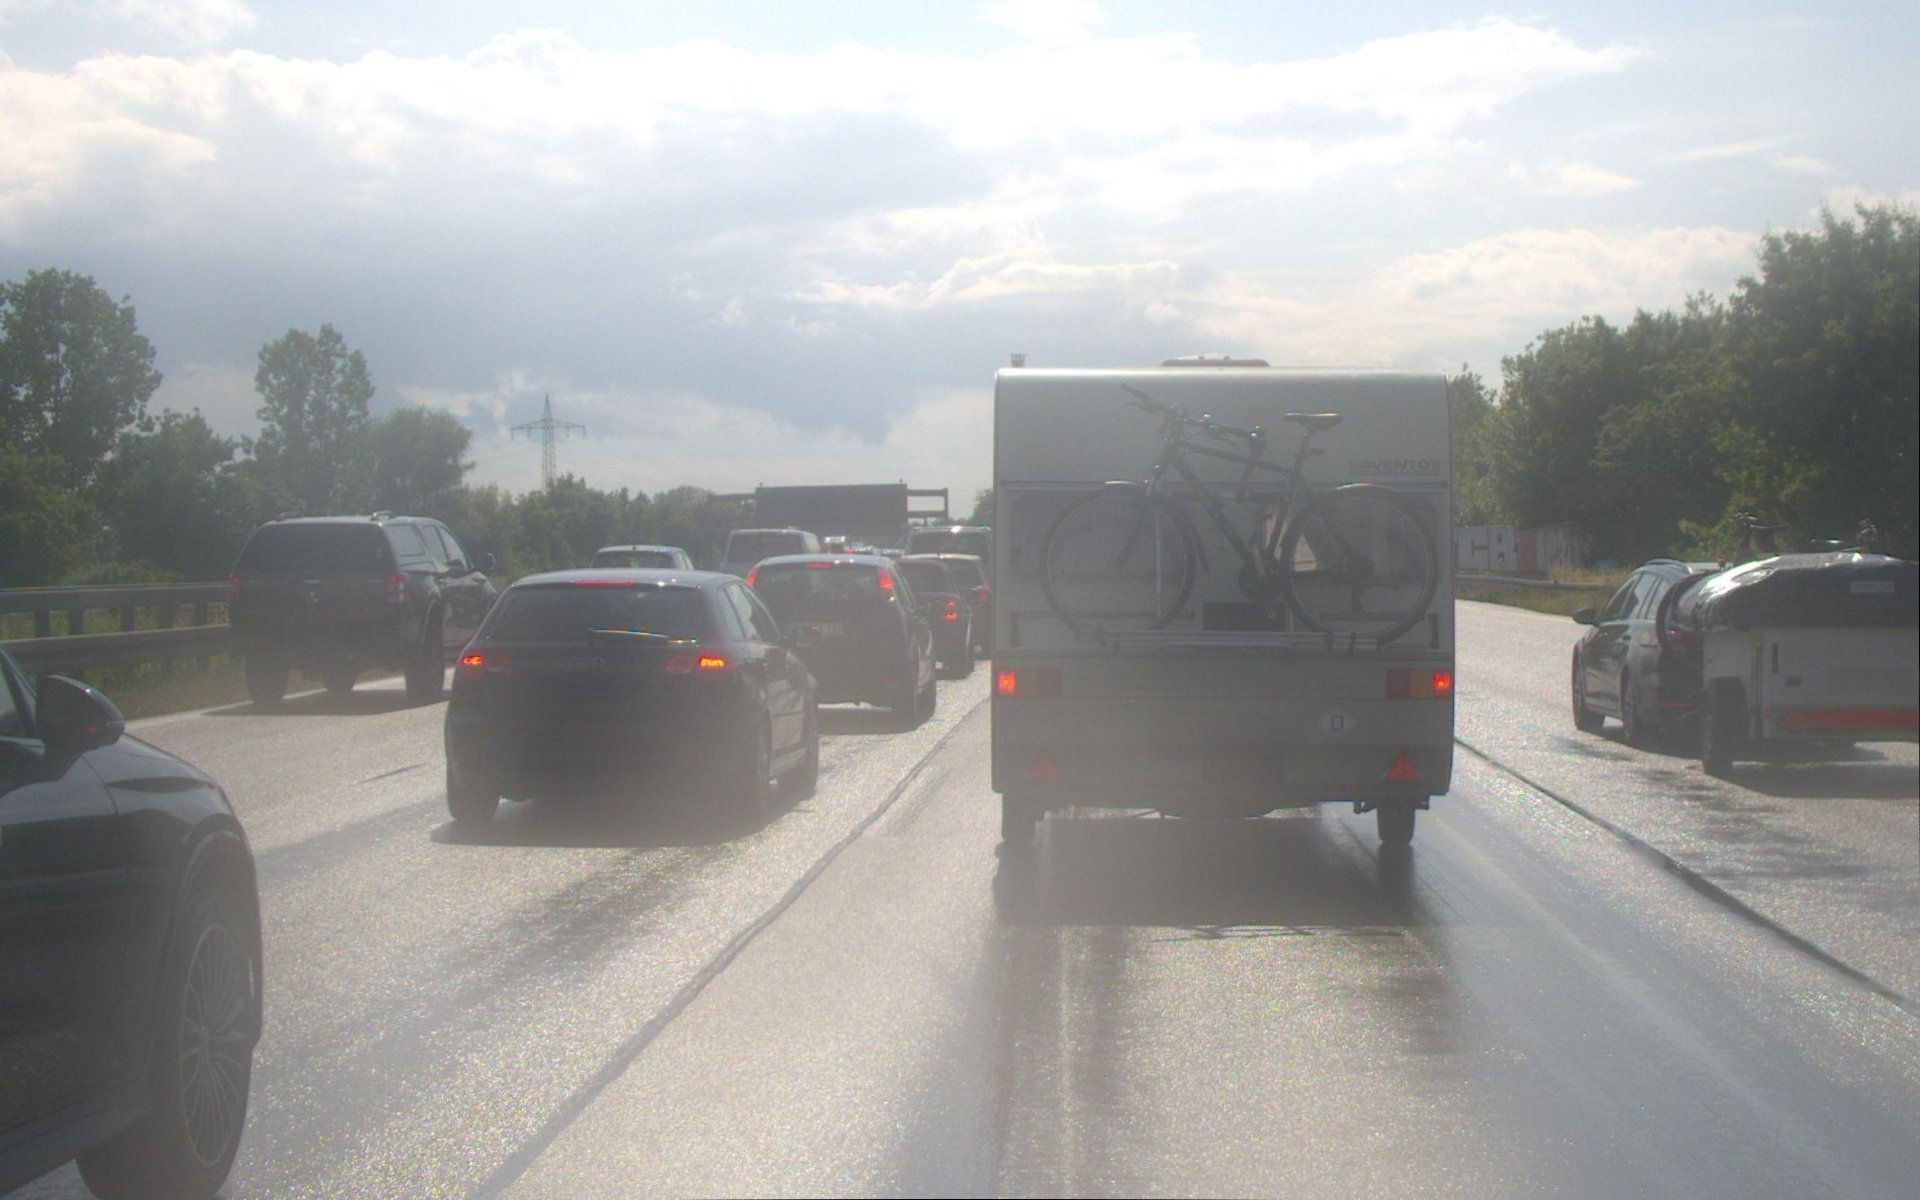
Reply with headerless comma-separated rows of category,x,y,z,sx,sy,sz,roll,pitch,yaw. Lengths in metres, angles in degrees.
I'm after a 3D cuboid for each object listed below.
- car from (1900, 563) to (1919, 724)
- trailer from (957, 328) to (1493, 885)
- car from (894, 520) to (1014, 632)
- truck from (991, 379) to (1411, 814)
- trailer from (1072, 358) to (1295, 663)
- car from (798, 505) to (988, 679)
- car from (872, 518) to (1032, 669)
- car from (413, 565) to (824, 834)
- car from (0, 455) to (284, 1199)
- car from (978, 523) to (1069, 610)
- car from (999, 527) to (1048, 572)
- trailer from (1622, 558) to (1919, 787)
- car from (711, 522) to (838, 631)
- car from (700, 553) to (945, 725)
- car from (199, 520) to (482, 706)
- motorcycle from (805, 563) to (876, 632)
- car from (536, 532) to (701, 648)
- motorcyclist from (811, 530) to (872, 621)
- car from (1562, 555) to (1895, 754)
car,9.136,0.404,28.450,1.771,1.397,4.289,0,1,4
trailer,1.330,-0.007,18.738,2.374,2.475,6.522,1,1,3
car,-0.084,-0.462,64.090,1.994,2.007,4.000,0,1,3
truck,1.508,-0.051,22.634,2.374,2.468,5.756,1,1,3
trailer,3.414,-1.287,51.400,3.007,4.152,8.534,1,1,5
car,-0.764,-0.118,42.152,1.994,2.007,4.000,1,1,3
car,-0.069,-0.120,50.622,1.994,2.007,4.000,4,1,3
car,-1.863,0.496,19.920,1.757,1.382,3.944,0,1,4
car,-2.747,0.564,6.091,1.994,1.656,4.405,0,1,4
car,1.545,-0.825,82.798,1.994,2.007,4.000,-1,1,3
car,2.535,-2.013,138.003,1.876,1.754,4.000,1,1,0
trailer,5.842,0.434,23.861,1.855,1.437,4.147,0,1,3
car,-3.703,-0.485,69.377,1.994,2.007,4.000,4,1,3
car,-1.152,0.300,30.570,1.806,1.402,4.000,1,1,3
car,-6.086,0.098,34.236,1.993,1.714,4.000,1,1,1
motorcycle,-2.236,-0.061,64.721,1.074,1.267,2.690,0,1,3
car,-5.337,-0.181,54.188,1.994,1.766,4.000,0,1,3
motorcyclist,-2.232,-0.465,64.796,1.064,1.712,0.785,0,0,3
car,5.987,0.370,27.264,1.855,1.437,4.258,0,1,3
